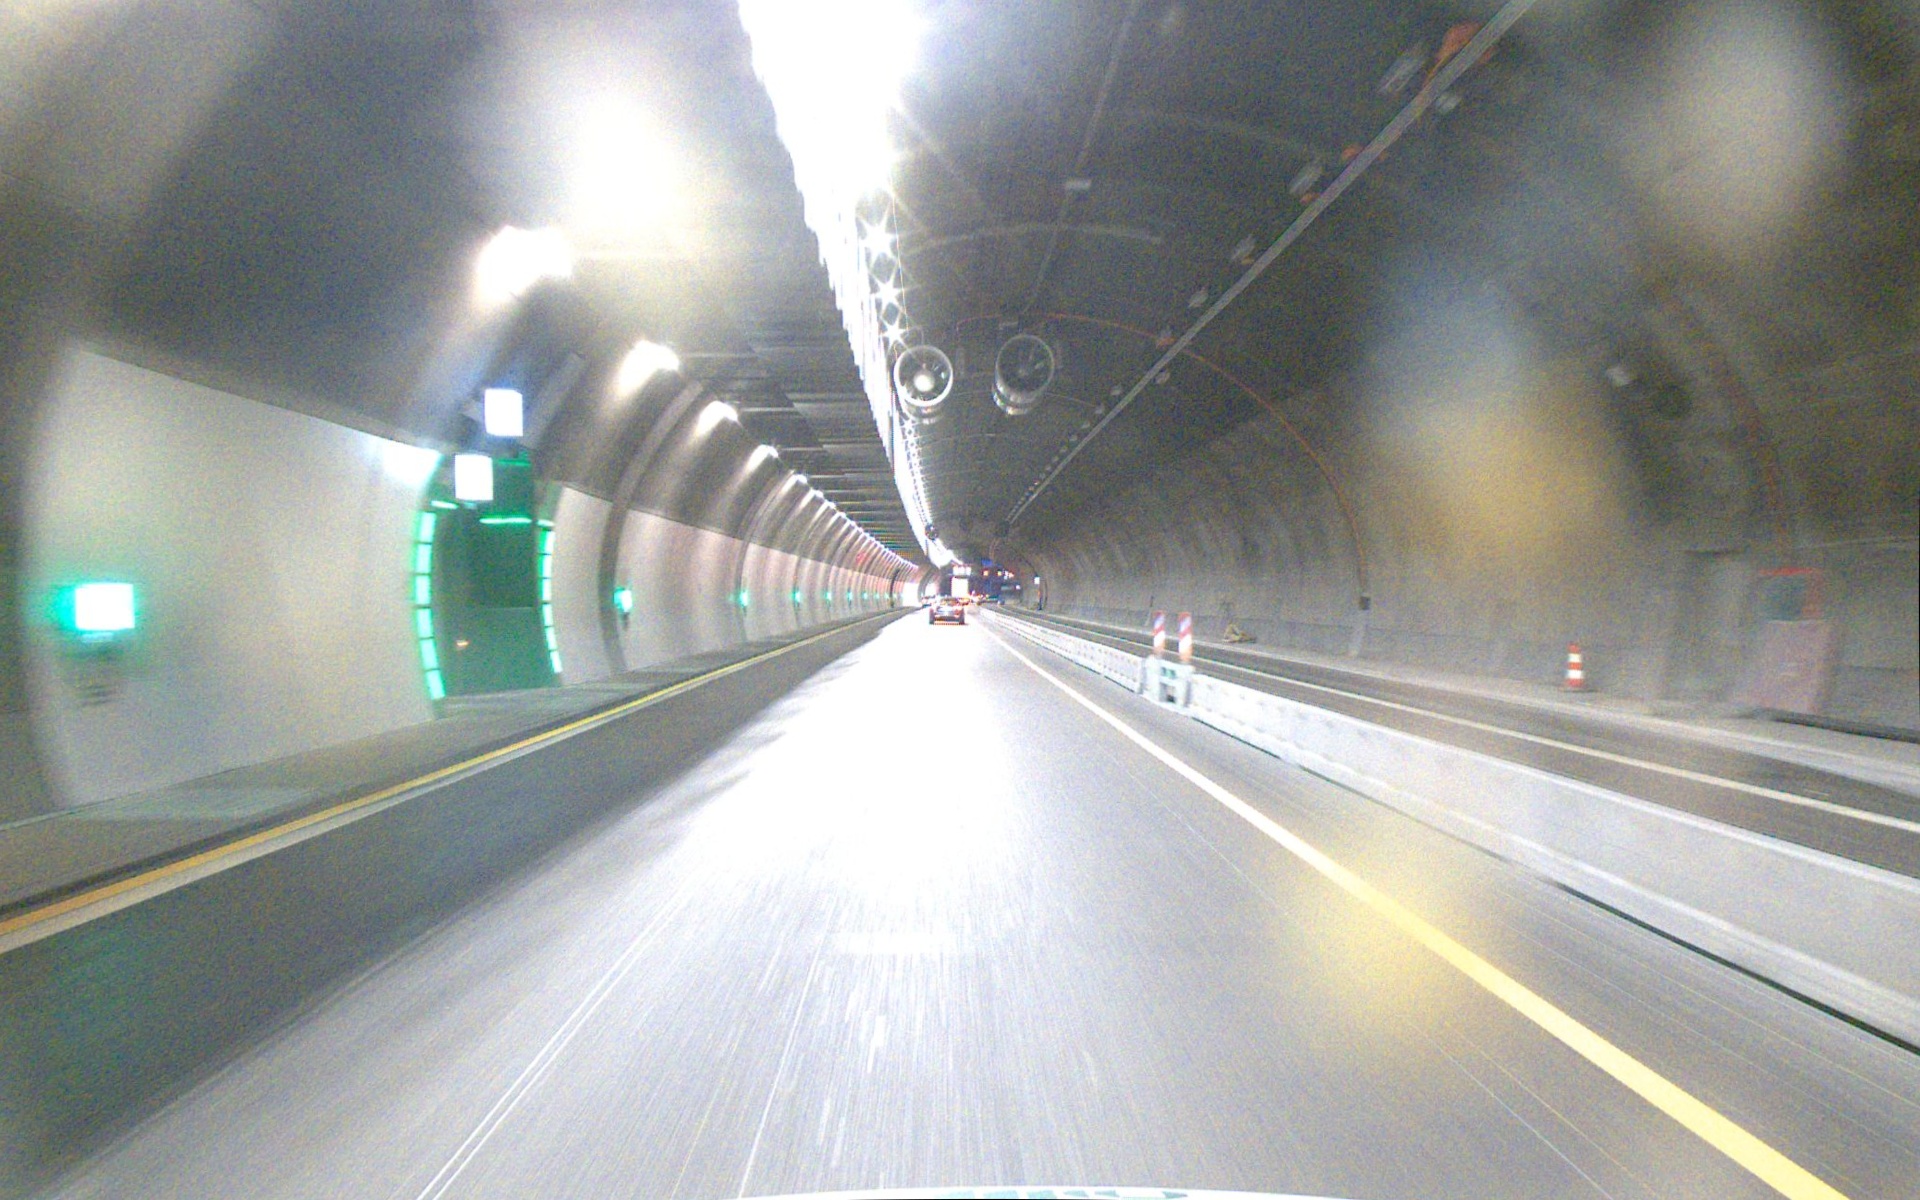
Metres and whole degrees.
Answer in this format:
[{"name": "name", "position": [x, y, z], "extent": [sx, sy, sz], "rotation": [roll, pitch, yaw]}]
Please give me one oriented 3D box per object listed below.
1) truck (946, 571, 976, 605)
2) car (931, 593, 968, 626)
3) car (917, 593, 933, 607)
[{"name": "truck", "position": [0.134, -1.842, 261.904], "extent": [4.452, 5.074, 9.600], "rotation": [1, 0, 1]}, {"name": "car", "position": [-0.571, 0.495, 86.893], "extent": [1.849, 1.635, 3.999], "rotation": [1, 0, -1]}, {"name": "car", "position": [-4.281, -0.018, 202.157], "extent": [1.790, 1.635, 3.999], "rotation": [1, 0, -1]}]
